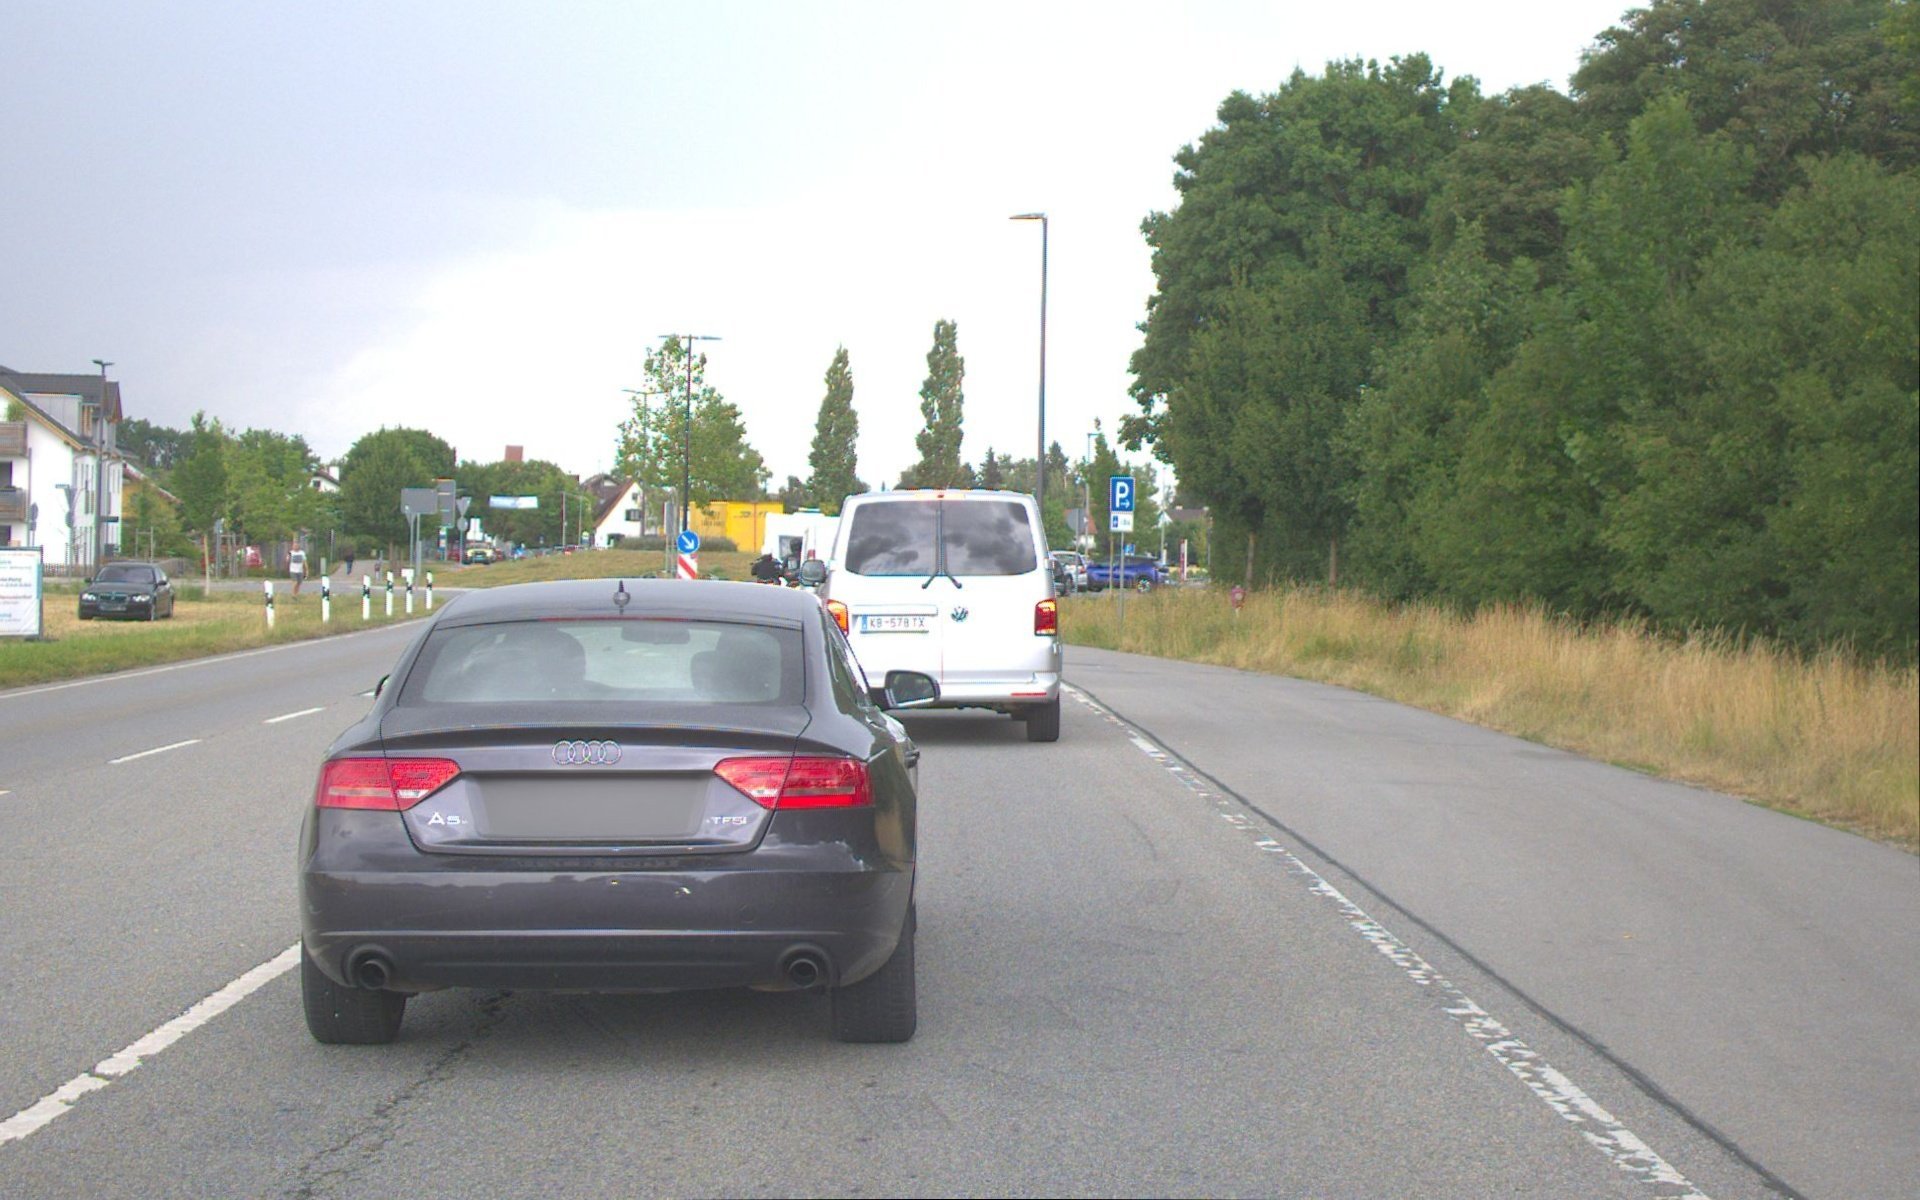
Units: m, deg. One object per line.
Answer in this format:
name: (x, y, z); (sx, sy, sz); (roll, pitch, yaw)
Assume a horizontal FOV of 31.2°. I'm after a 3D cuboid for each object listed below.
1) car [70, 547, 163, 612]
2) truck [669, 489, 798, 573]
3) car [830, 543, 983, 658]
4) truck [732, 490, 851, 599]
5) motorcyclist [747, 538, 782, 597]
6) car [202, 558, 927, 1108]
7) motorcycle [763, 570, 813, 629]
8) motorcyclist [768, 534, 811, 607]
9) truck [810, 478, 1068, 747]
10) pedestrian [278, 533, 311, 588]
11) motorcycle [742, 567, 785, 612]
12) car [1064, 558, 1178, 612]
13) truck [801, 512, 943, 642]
car: (-20.368, -0.510, 83.110); (1.993, 1.437, 4.001); (1, 2, -11)
truck: (-10.205, -3.109, 153.699); (3.575, 3.566, 9.960); (1, 1, -17)
car: (-0.733, -0.018, 47.183); (1.993, 1.480, 4.000); (1, 1, -1)
truck: (-4.499, -1.463, 90.872); (2.626, 2.728, 5.868); (1, 1, -7)
motorcyclist: (-4.543, -0.750, 79.852); (0.785, 1.352, 0.854); (1, 1, -2)
car: (-1.087, 0.602, 11.345); (1.875, 1.449, 4.177); (0, 1, 1)
motorcycle: (-3.299, -0.023, 66.152); (0.920, 1.090, 2.189); (1, 1, -2)
motorcyclist: (-3.275, -0.570, 66.155); (0.772, 1.379, 0.820); (1, 1, -1)
truck: (-0.164, 0.054, 28.073); (1.904, 1.991, 4.628); (1, 1, 0)
pedestrian: (-19.381, -1.161, 100.191); (0.701, 1.580, 0.657); (1, 1, 17)
motorcycle: (-4.556, -0.247, 79.837); (0.944, 1.016, 2.284); (1, 1, -2)
car: (6.287, -0.596, 134.184); (3.991, 2.007, 1.998); (2, 1, 20)
truck: (-1.394, -0.386, 56.453); (2.193, 2.007, 5.085); (1, 1, 0)
